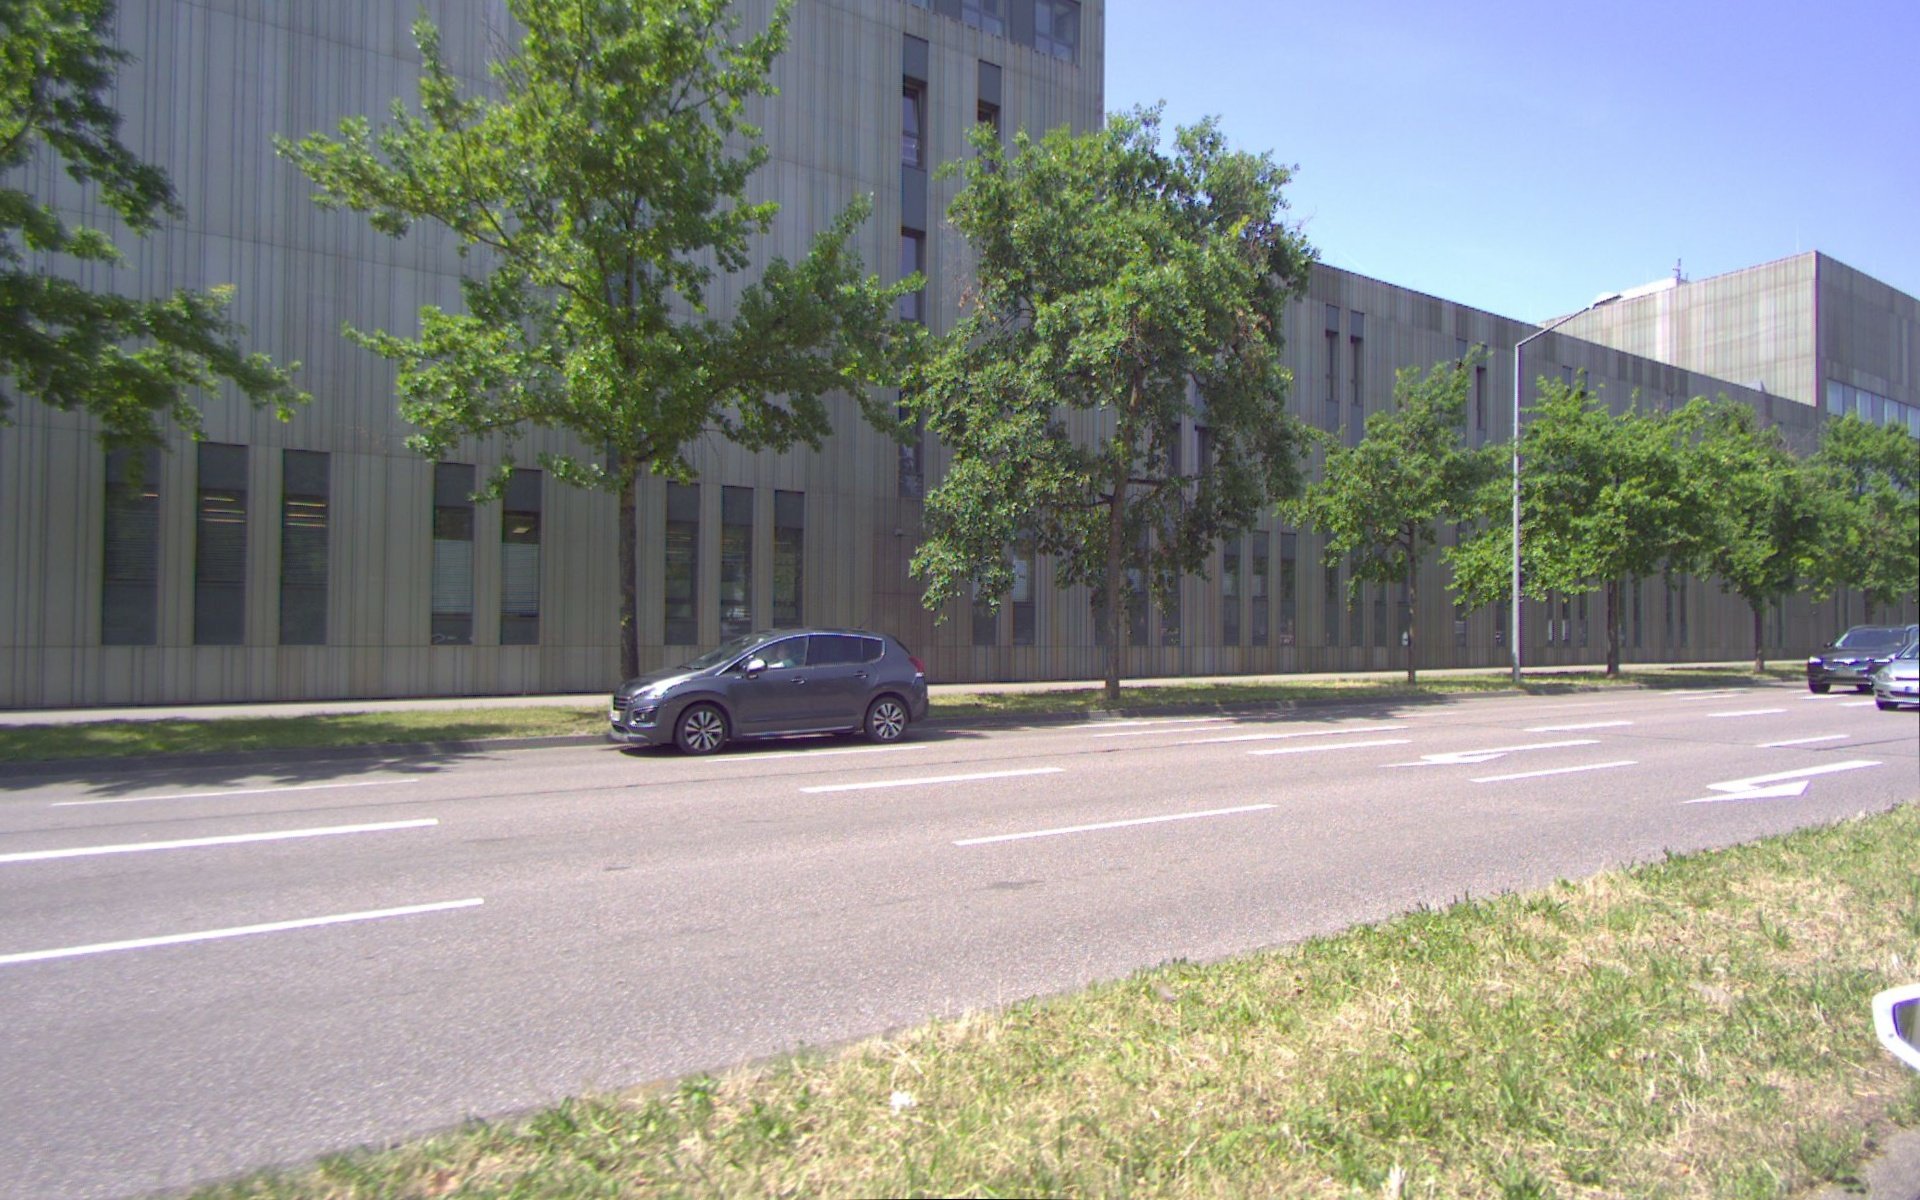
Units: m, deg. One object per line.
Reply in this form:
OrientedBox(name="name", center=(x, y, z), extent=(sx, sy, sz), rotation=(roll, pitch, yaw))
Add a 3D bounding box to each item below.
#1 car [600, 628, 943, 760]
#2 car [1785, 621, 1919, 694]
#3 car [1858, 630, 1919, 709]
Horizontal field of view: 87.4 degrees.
OrientedBox(name="car", center=(-2.536, 1.190, 13.838), extent=(4.320, 1.563, 1.801), rotation=(1, -3, -31))
OrientedBox(name="car", center=(23.733, 1.469, 26.390), extent=(4.595, 1.769, 1.801), rotation=(1, -3, -32))
OrientedBox(name="car", center=(19.567, 1.334, 19.770), extent=(4.100, 1.479, 1.756), rotation=(1, -3, -32))
